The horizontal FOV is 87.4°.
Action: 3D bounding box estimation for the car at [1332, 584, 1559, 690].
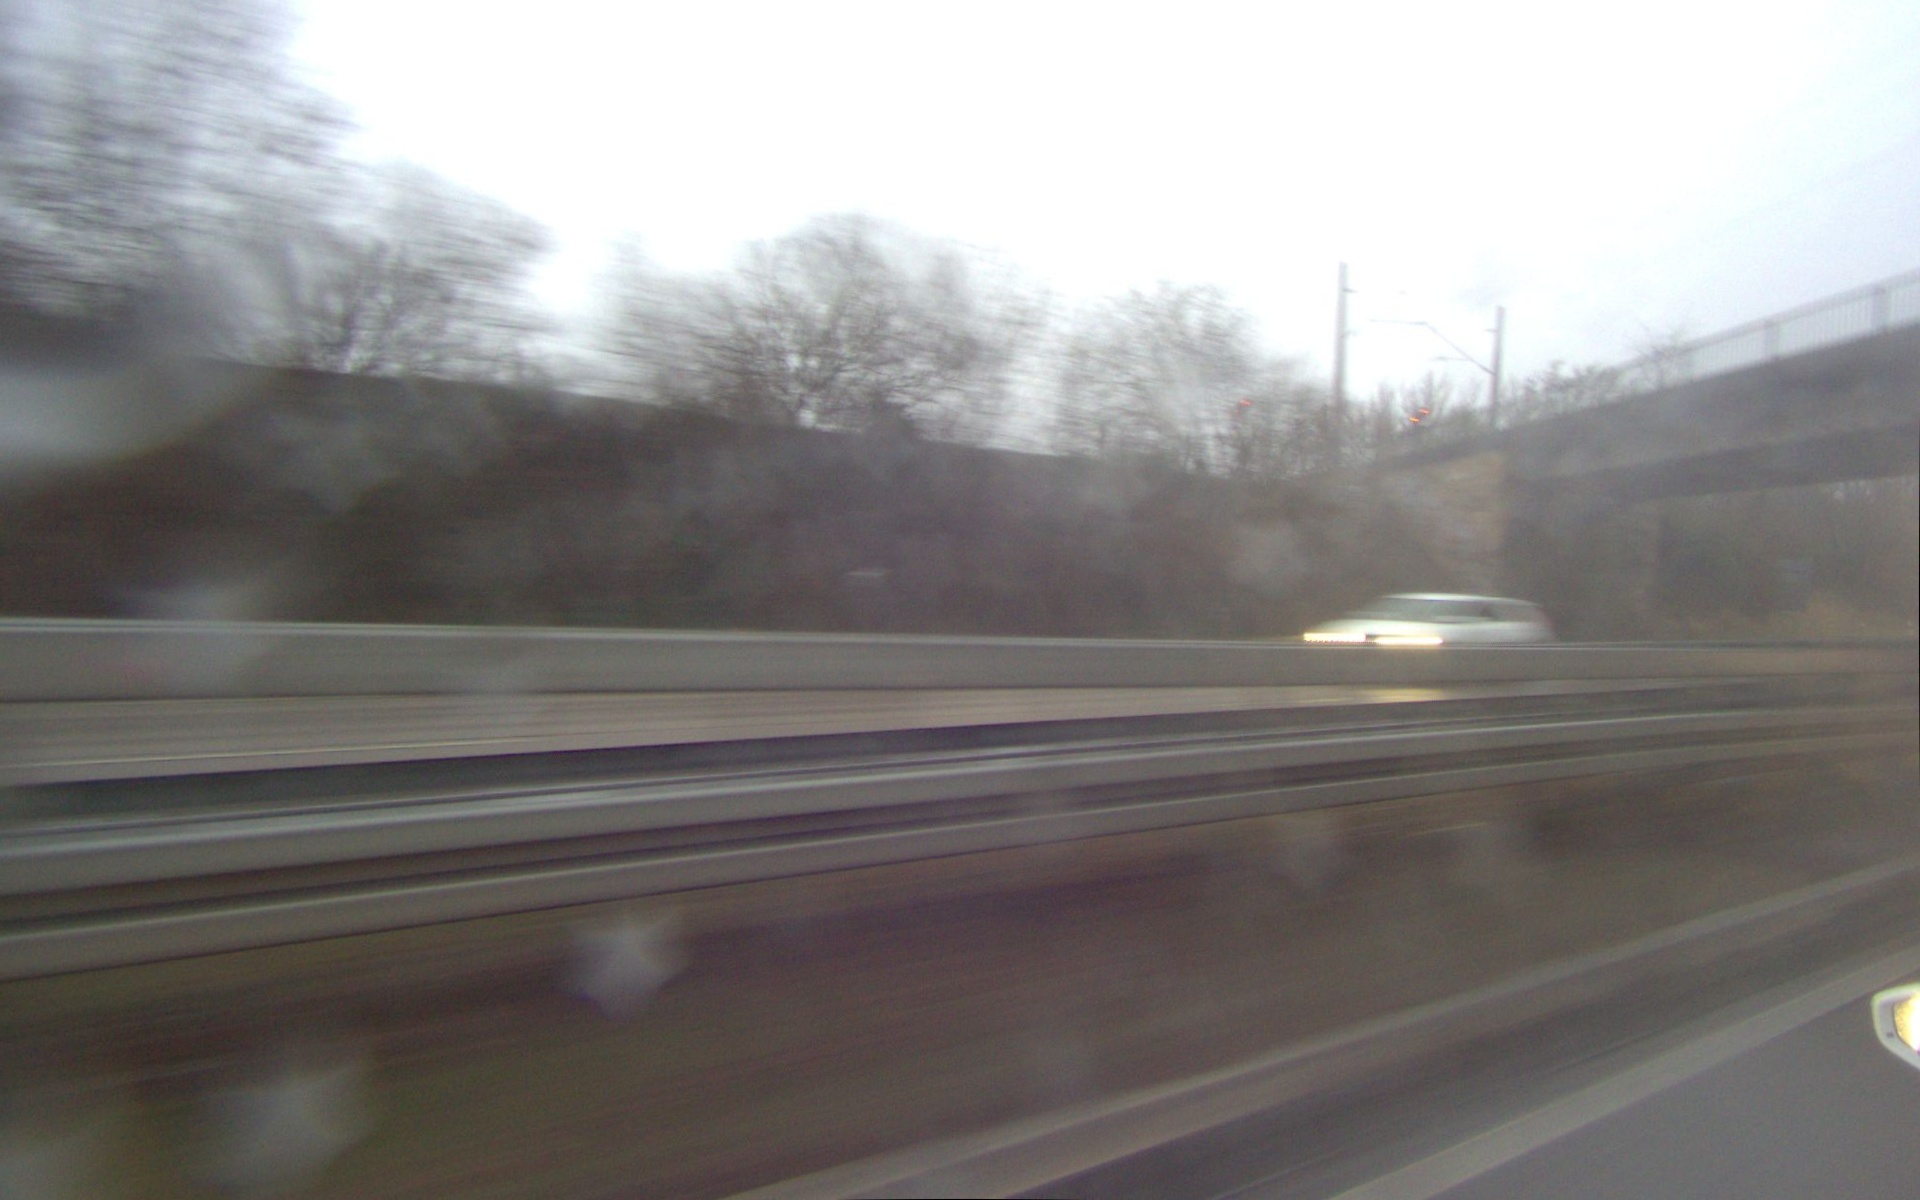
[{"bbox_3d":[8.732,0.629,17.961,4.247,1.692,1.574,2,1,-31],"label":"car"}]
